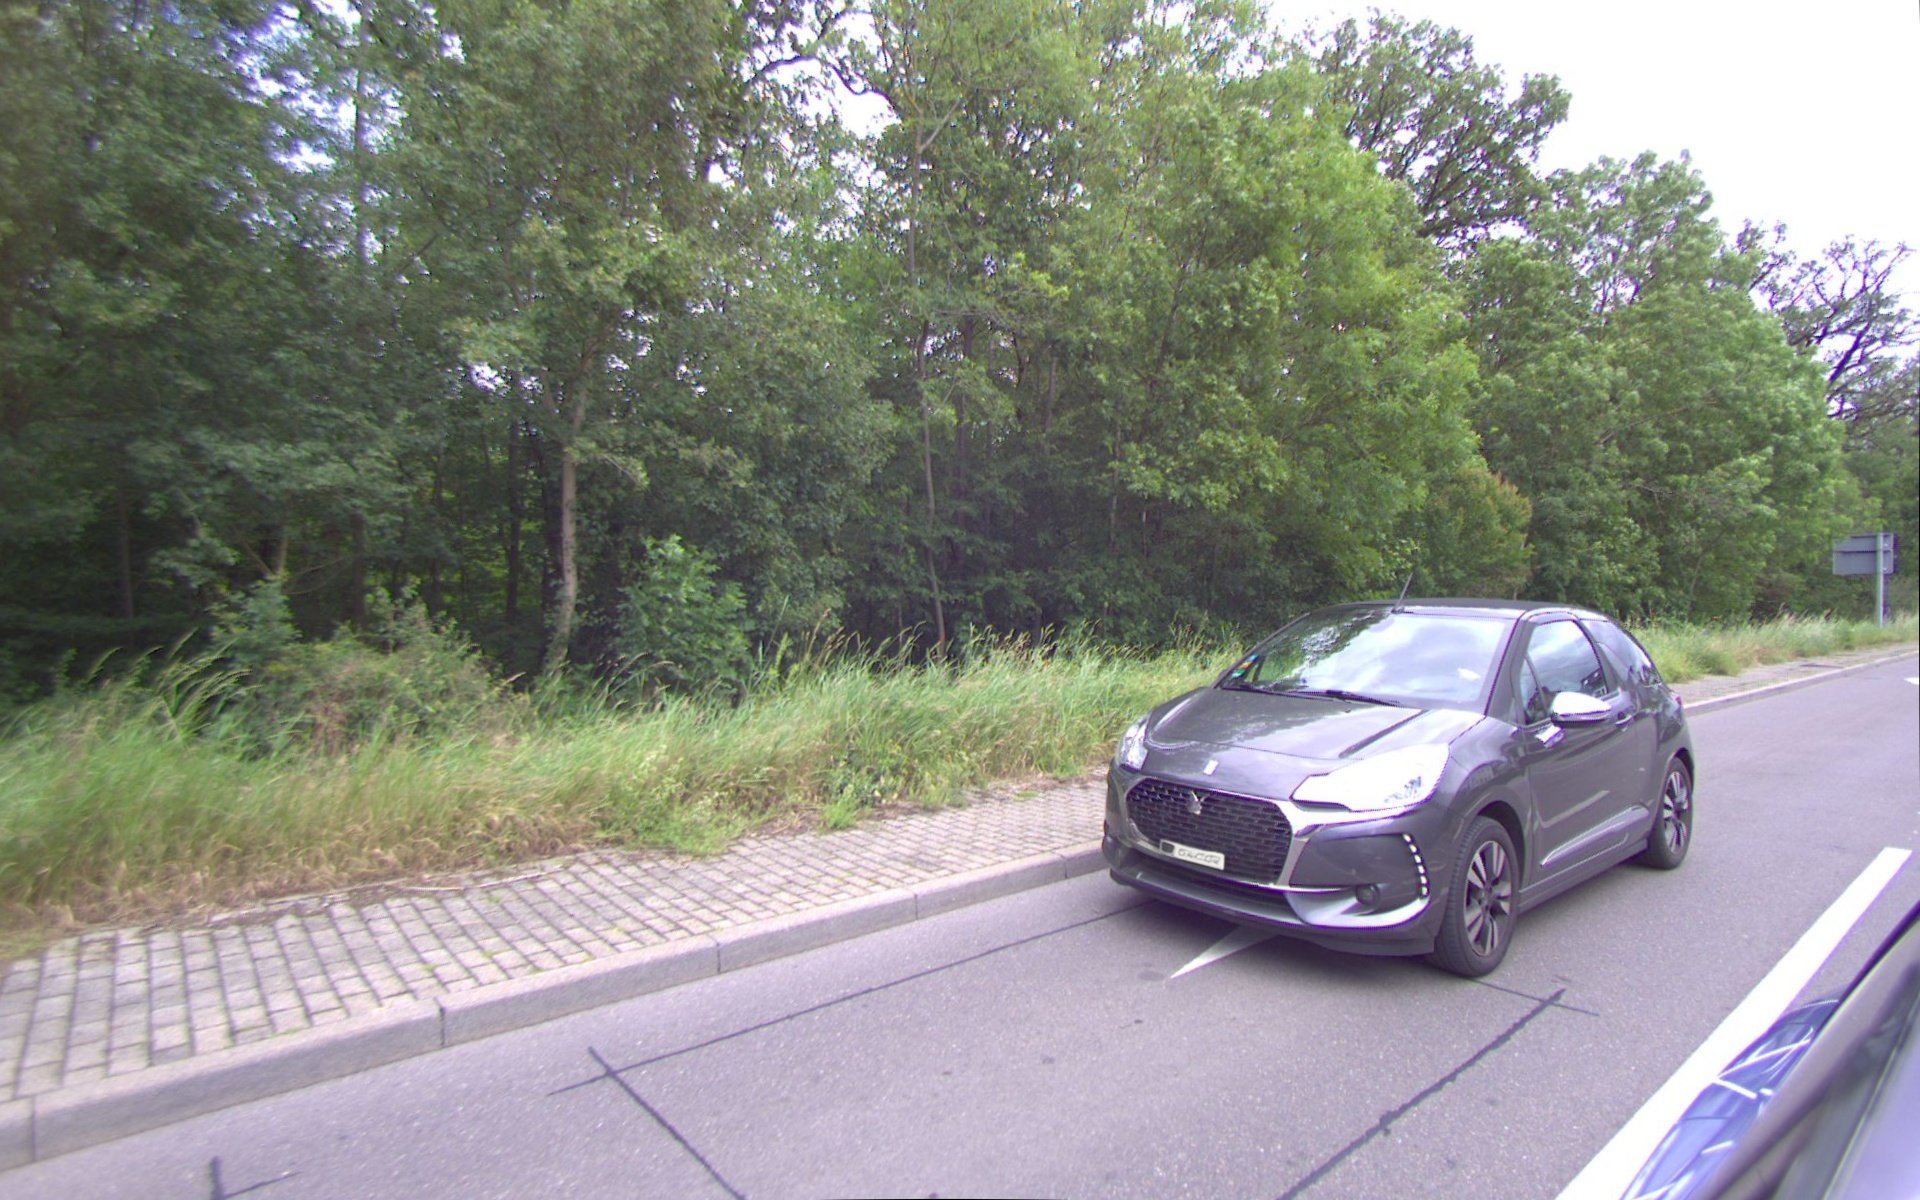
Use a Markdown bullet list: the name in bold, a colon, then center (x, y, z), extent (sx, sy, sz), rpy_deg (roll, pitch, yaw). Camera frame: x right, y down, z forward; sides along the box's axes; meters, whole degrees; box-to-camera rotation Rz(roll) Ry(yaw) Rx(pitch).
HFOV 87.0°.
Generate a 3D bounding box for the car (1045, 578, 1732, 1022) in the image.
- **car**: center (2.402, 0.644, 5.247), extent (3.786, 1.476, 1.729), rpy_deg (-1, 0, -39)
